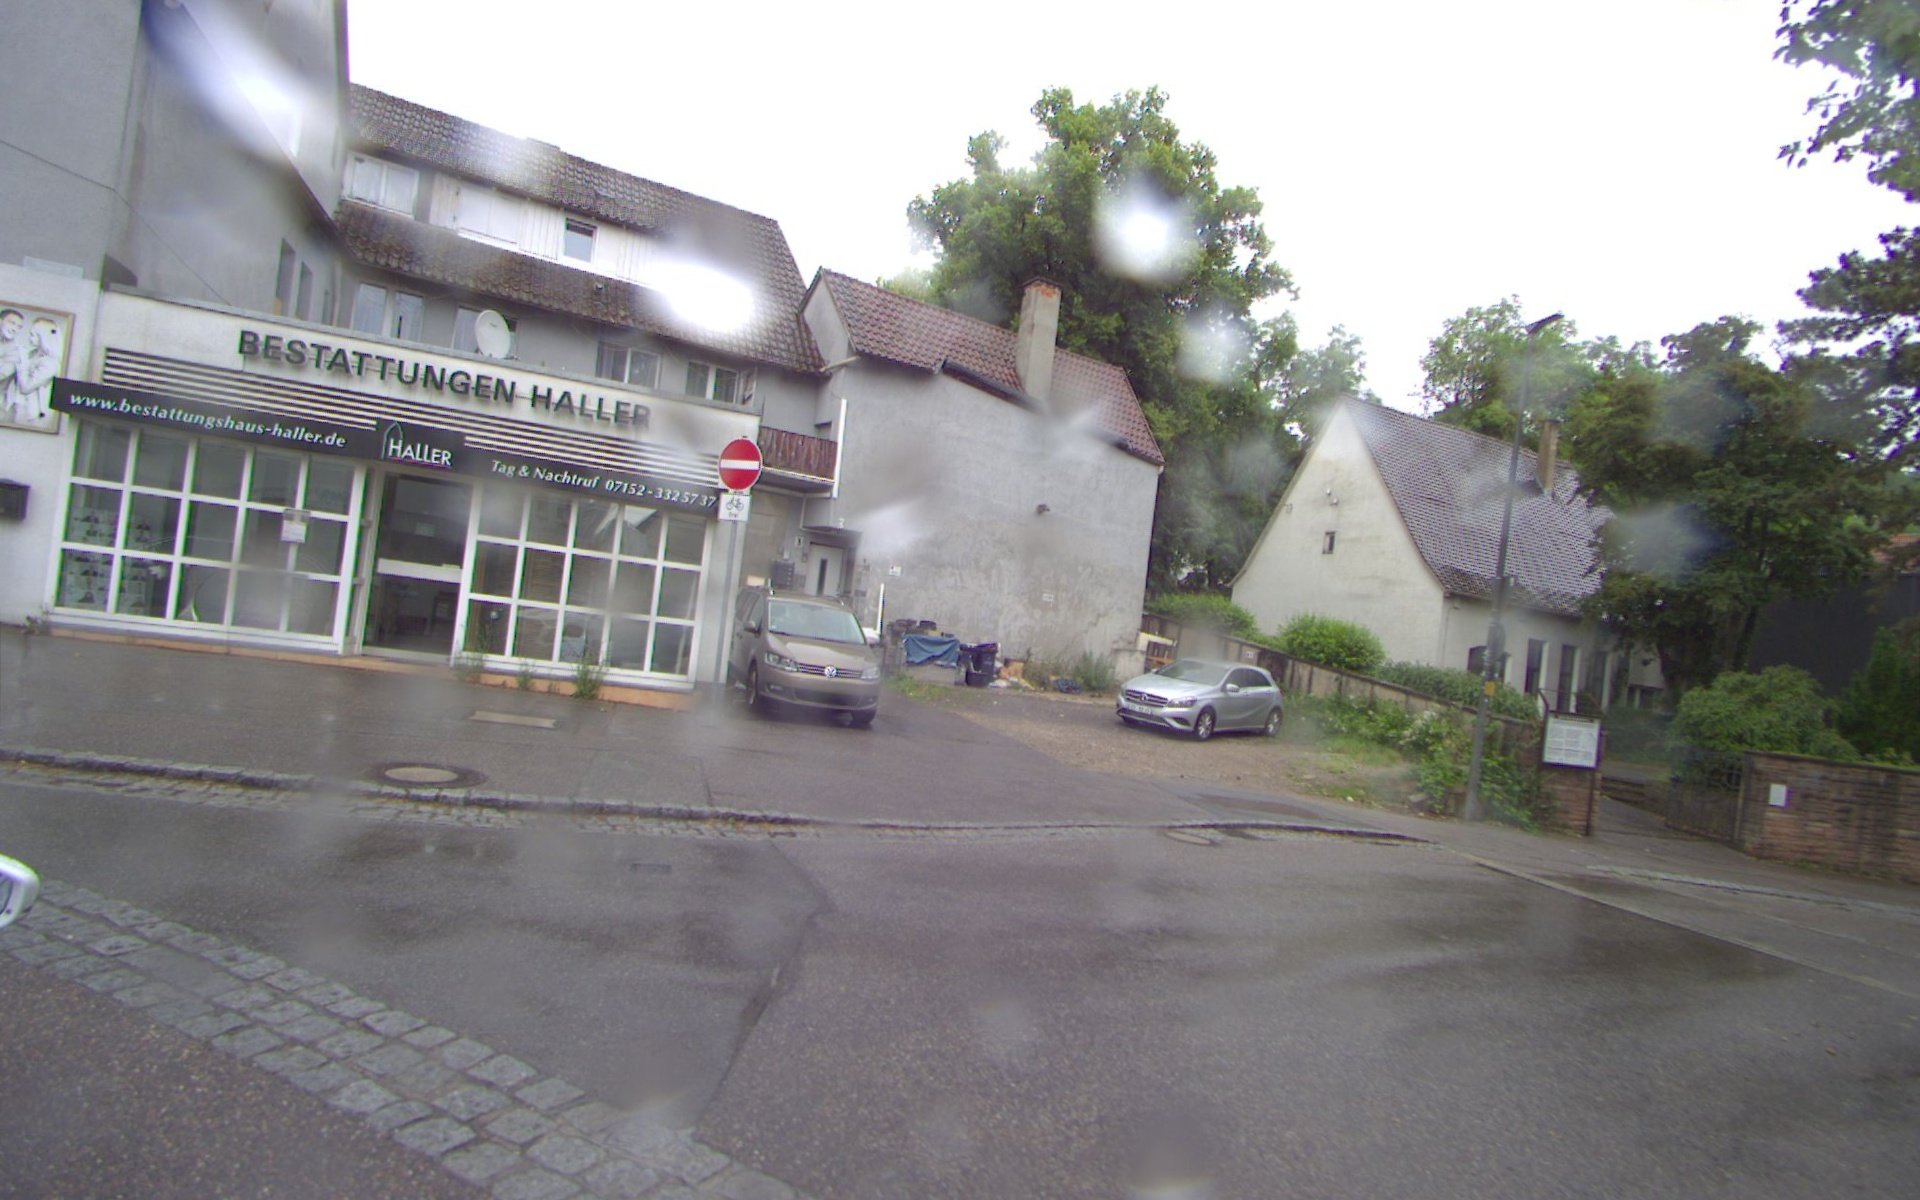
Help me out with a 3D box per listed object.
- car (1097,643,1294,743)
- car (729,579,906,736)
[{"bbox_3d":[4.661,1.808,19.614,1.809,1.493,3.977,10,2,44],"label":"car"},{"bbox_3d":[-2.301,0.766,15.161,1.970,1.792,3.989,9,-2,-15],"label":"car"}]
